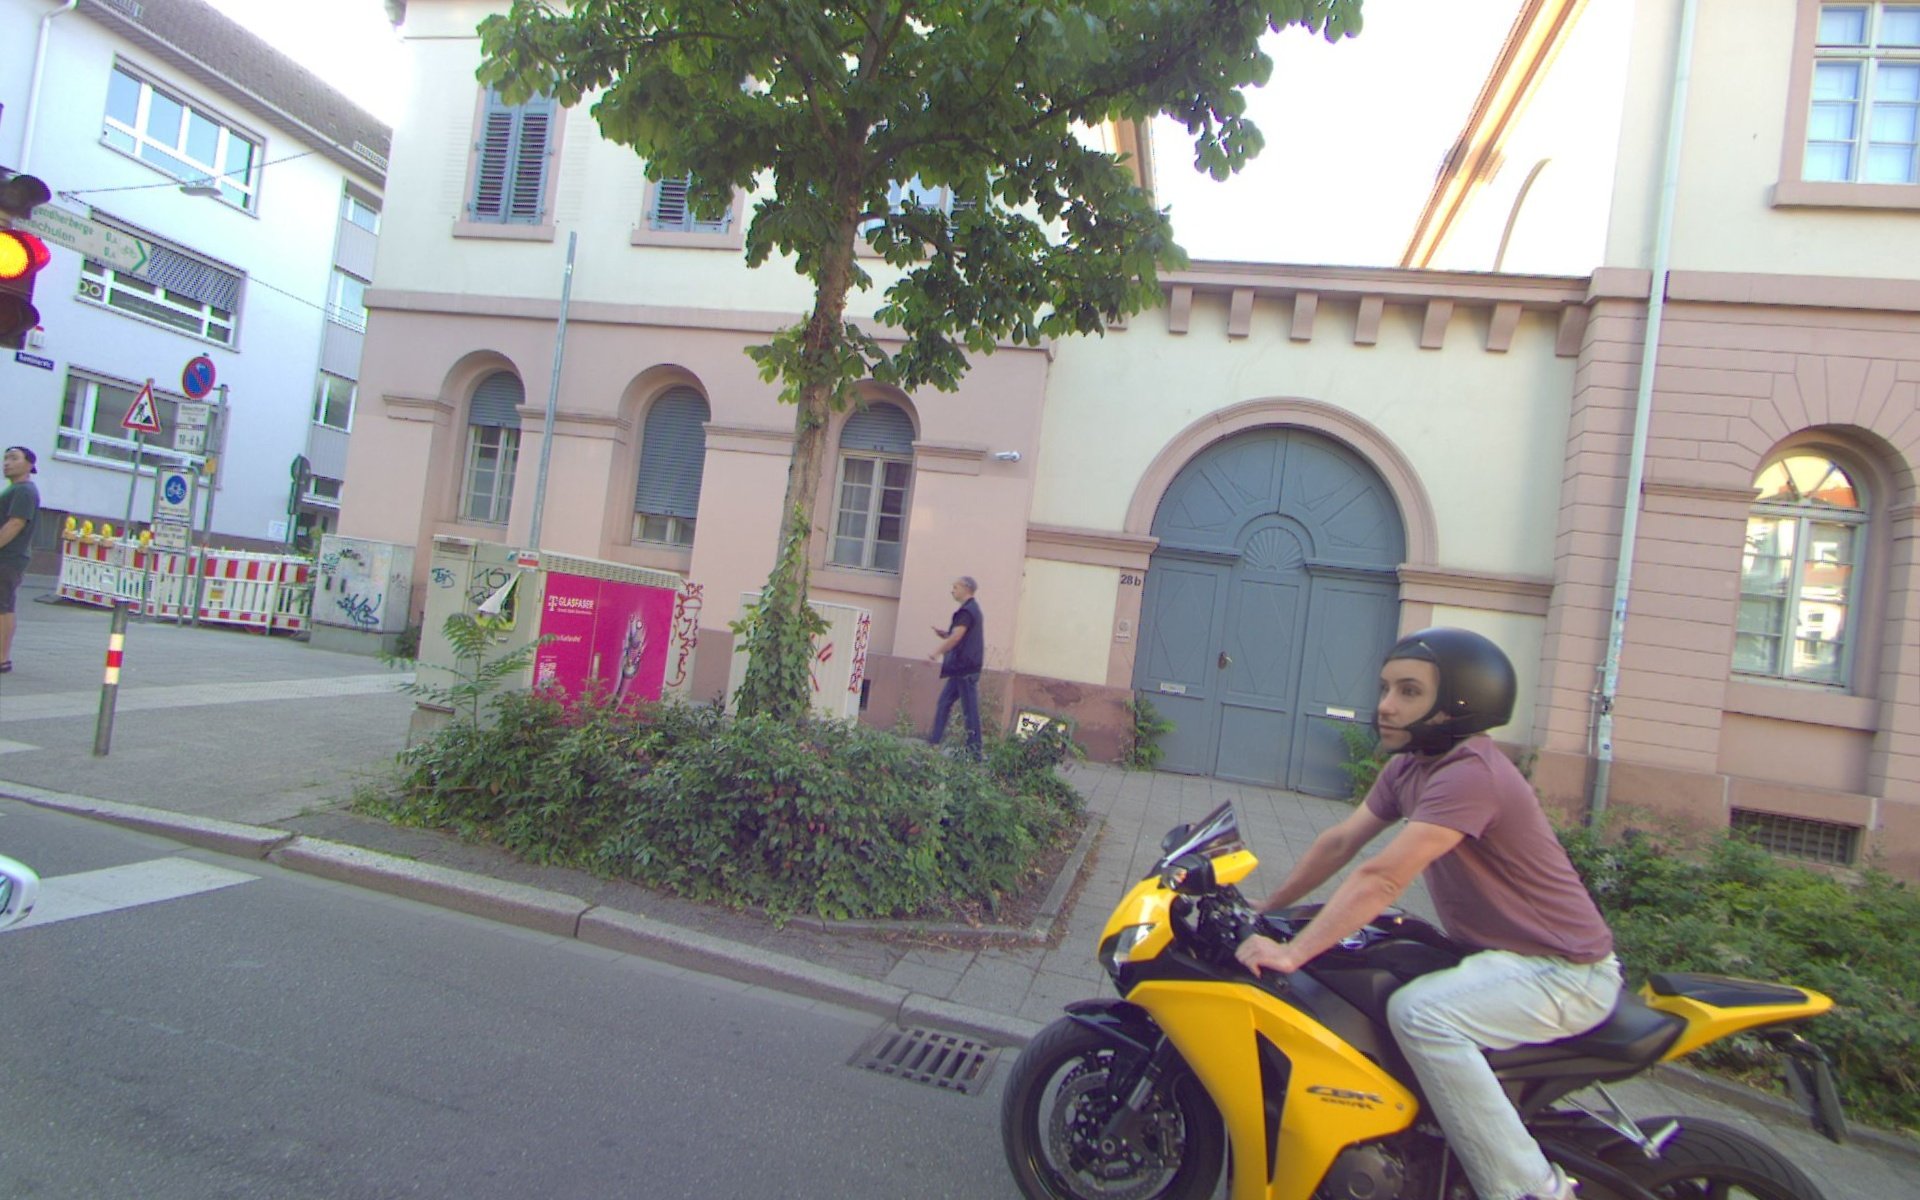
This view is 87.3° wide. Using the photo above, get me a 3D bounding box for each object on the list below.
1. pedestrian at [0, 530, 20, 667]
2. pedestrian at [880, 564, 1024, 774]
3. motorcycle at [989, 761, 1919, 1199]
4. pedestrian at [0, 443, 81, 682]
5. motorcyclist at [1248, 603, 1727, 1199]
[{"bbox_3d":[-8.405,-0.065,8.213,0.821,1.134,0.567,8,0,4],"label":"pedestrian"},{"bbox_3d":[-0.062,0.660,9.978,1.062,1.862,0.801,8,2,12],"label":"pedestrian"},{"bbox_3d":[1.116,1.159,2.456,1.929,1.173,0.795,7,-2,10],"label":"motorcycle"},{"bbox_3d":[-7.788,-0.340,8.097,0.885,1.837,0.784,8,1,-41],"label":"pedestrian"},{"bbox_3d":[1.188,0.794,2.459,0.685,1.436,0.795,7,-2,10],"label":"motorcyclist"}]
